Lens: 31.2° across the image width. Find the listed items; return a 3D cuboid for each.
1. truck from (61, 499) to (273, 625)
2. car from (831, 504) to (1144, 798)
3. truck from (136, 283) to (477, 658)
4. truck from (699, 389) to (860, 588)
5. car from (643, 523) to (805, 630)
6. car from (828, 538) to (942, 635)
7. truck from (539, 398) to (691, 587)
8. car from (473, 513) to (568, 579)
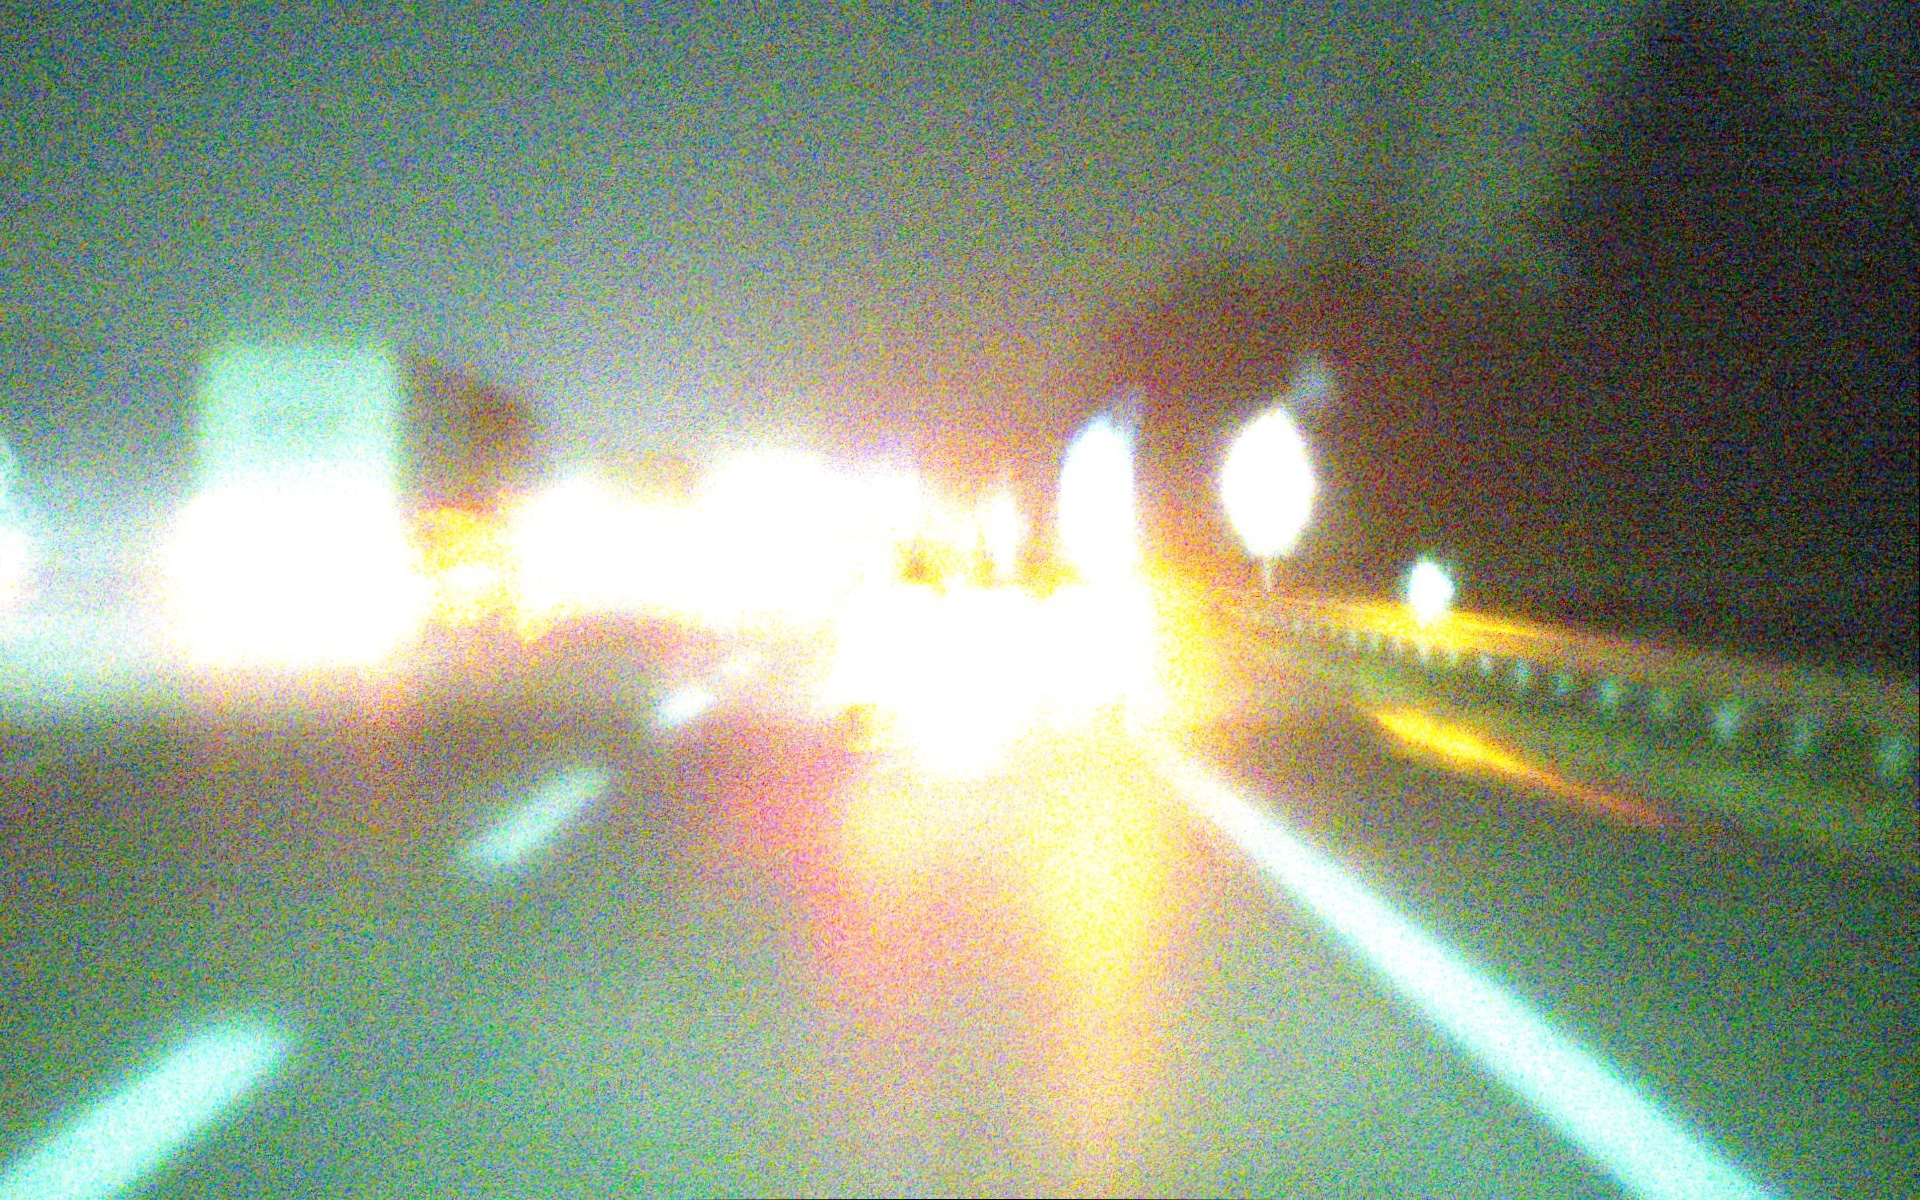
[{"bbox_3d":[-14.664,-0.722,63.962,2.857,2.193,5.859,1,1,-3],"label":"truck"},{"bbox_3d":[0.175,0.278,22.934,1.878,1.756,4.000,1,1,0],"label":"car"},{"bbox_3d":[-9.031,-1.730,48.802,3.655,4.721,9.854,1,1,-5],"label":"truck"},{"bbox_3d":[-5.043,-3.025,95.765,4.161,5.197,9.955,1,1,-3],"label":"truck"},{"bbox_3d":[-4.663,-0.493,68.783,2.833,2.007,5.510,1,1,0],"label":"car"},{"bbox_3d":[-1.343,-0.275,63.176,1.993,1.698,4.459,1,1,0],"label":"car"},{"bbox_3d":[-10.495,-3.228,105.710,4.253,5.425,10.886,1,1,-4],"label":"truck"},{"bbox_3d":[-11.863,-1.461,93.066,1.993,1.698,4.459,1,1,0],"label":"car"}]
